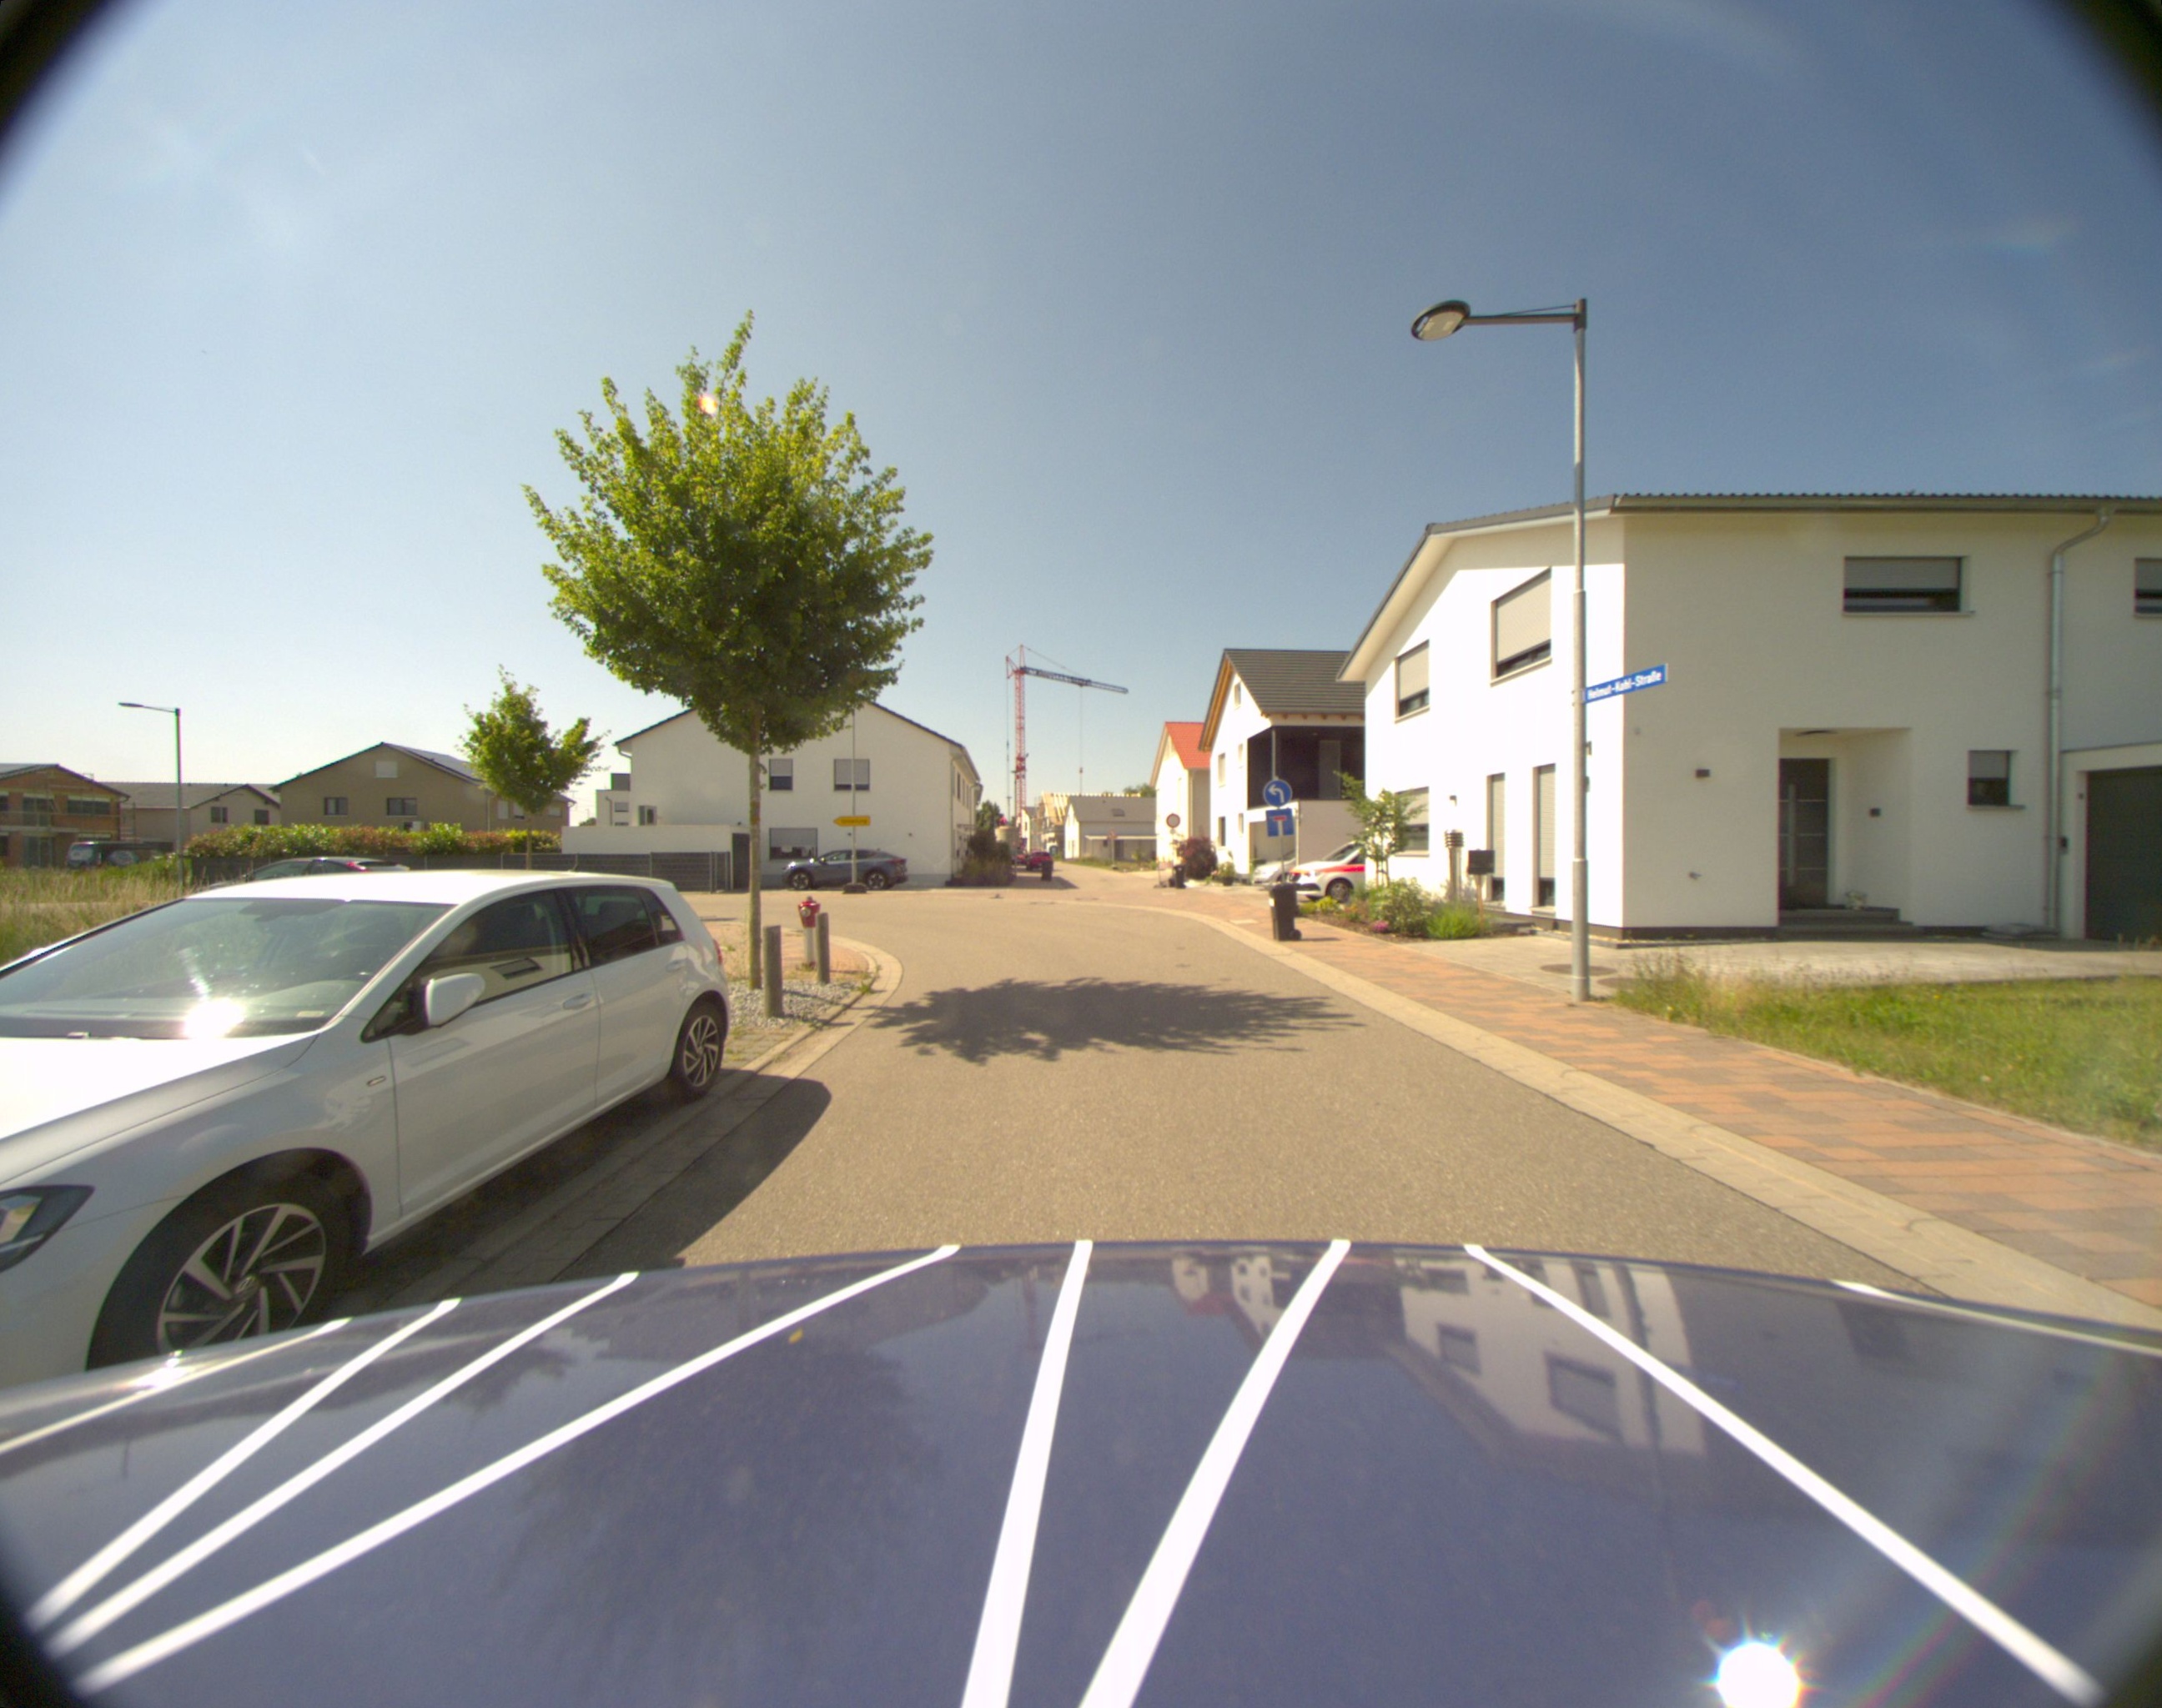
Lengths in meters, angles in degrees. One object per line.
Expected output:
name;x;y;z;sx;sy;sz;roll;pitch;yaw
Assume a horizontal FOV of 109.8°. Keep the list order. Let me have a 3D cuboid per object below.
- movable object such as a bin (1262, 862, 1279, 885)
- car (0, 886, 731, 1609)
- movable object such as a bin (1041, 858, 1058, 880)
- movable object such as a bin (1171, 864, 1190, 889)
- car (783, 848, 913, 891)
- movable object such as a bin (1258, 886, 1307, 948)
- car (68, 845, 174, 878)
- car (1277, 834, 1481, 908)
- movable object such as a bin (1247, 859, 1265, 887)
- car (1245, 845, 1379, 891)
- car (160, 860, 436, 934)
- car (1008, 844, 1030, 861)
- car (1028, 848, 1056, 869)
movable object such as a bin;7.484;0.763;29.964;0.500;0.900;0.561;-1;2;-6
car;-3.286;0.948;3.119;1.780;1.411;4.165;1;0;-1
movable object such as a bin;-1.637;0.759;39.007;0.824;1.058;0.589;-1;2;-6
movable object such as a bin;3.798;0.860;29.044;0.618;0.931;0.564;-1;0;-6
car;-8.776;0.573;28.919;4.349;1.549;1.960;0;0;-3
movable object such as a bin;3.215;1.000;12.177;0.625;0.943;0.499;-1;2;-6
car;-61.088;0.460;48.473;2.000;2.002;3.996;0;1;-10
car;7.911;0.423;20.460;4.750;1.864;1.937;0;1;-4
movable object such as a bin;6.885;0.743;29.858;0.500;1.085;0.601;-1;0;-6
car;8.083;0.483;26.738;4.165;1.553;1.744;0;1;-7
car;-18.102;0.952;17.778;4.193;1.485;1.848;-1;2;-8
car;-6.190;-0.196;75.852;1.804;1.609;3.671;-1;2;-11
car;-2.966;0.303;56.656;1.912;1.470;3.997;0;2;-6
